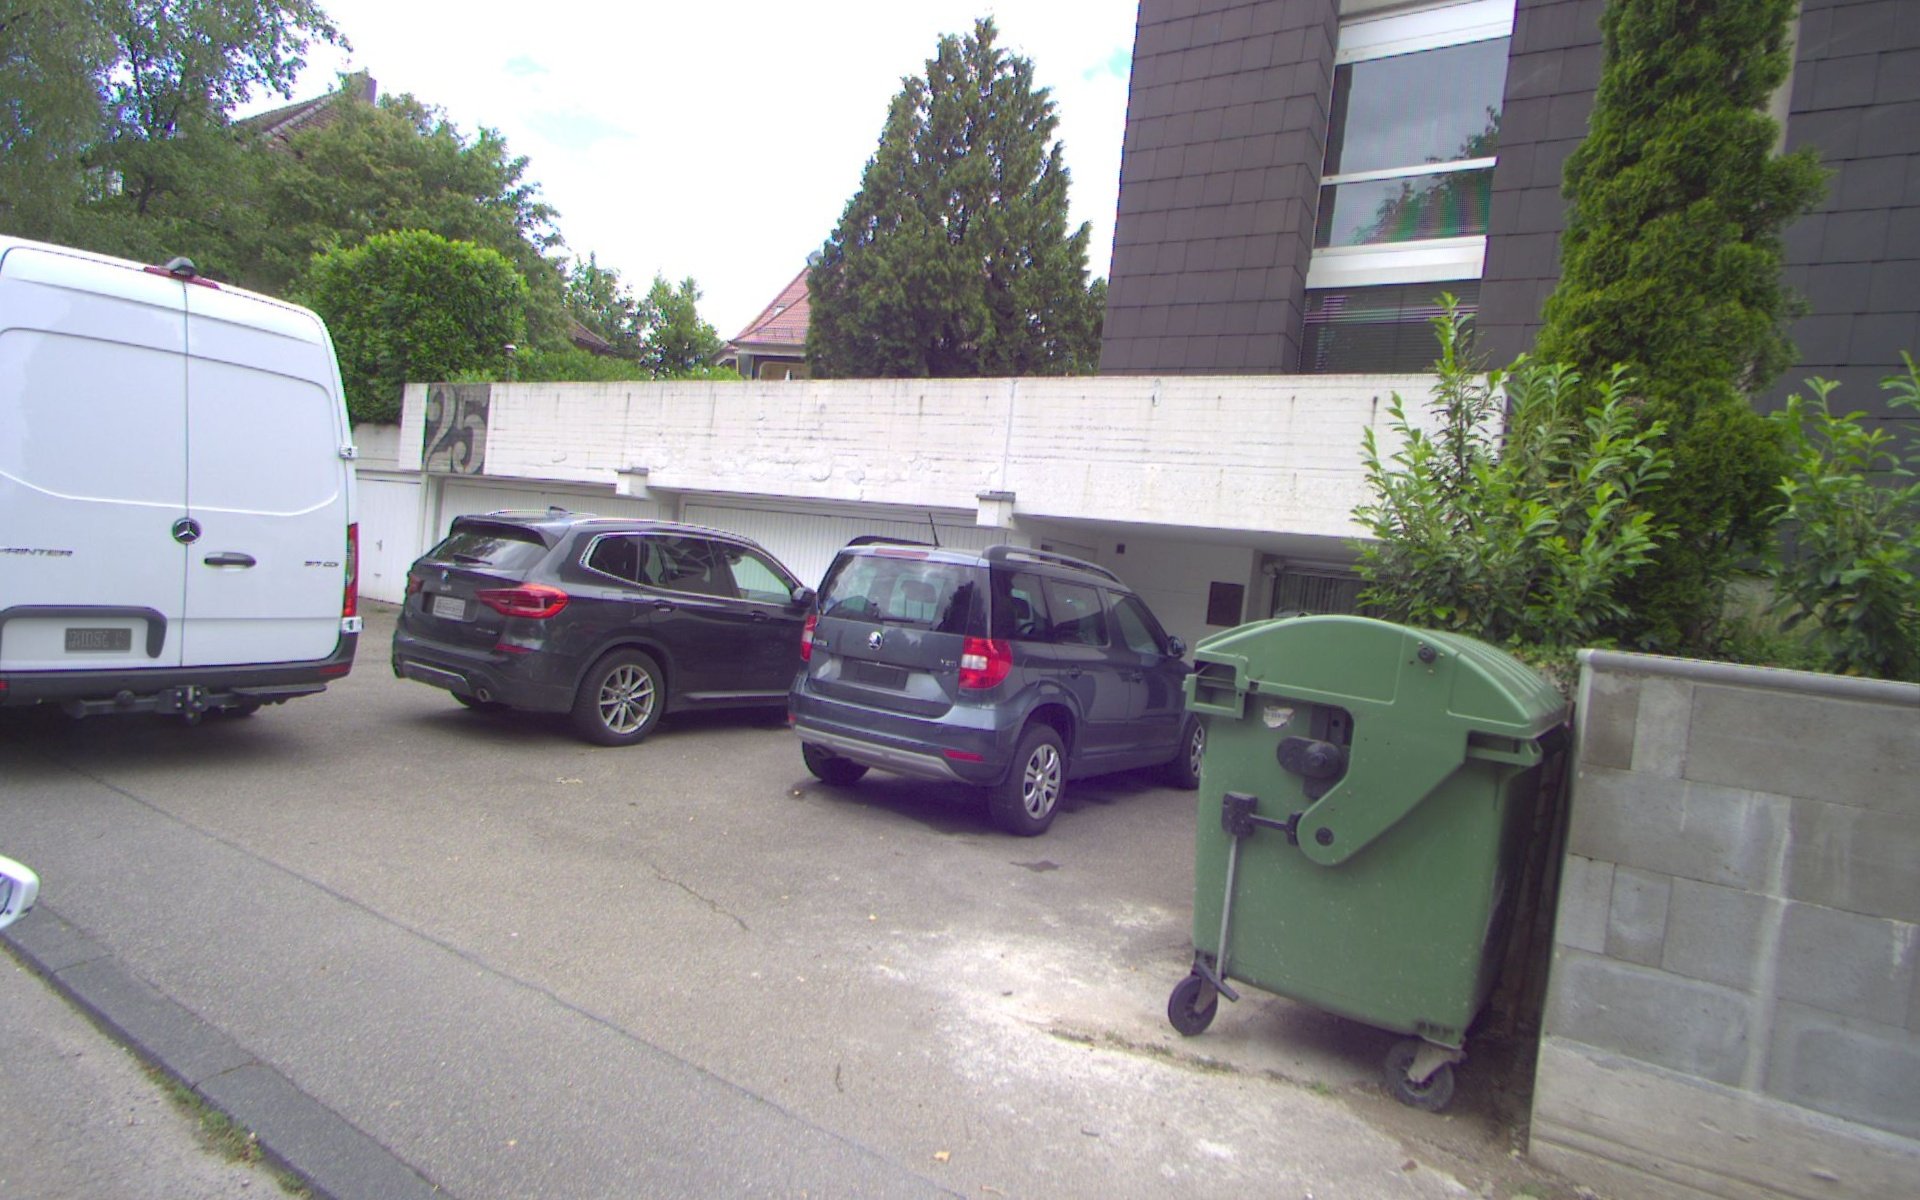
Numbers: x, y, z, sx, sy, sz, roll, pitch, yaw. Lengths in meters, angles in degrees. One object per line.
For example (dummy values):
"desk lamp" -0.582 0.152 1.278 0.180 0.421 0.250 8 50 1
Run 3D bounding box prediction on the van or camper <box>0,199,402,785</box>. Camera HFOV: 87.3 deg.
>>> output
"van or camper" -6.707 -0.738 6.906 6.432 2.653 1.995 7 1 32

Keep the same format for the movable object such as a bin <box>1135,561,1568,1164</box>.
"movable object such as a bin" 1.351 0.726 3.396 1.016 1.550 1.034 7 1 33

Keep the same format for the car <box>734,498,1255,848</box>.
"car" 0.532 0.453 7.402 1.804 1.772 3.973 7 1 35

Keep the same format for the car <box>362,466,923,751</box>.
"car" -2.363 0.123 8.683 1.710 1.772 4.419 7 1 33
